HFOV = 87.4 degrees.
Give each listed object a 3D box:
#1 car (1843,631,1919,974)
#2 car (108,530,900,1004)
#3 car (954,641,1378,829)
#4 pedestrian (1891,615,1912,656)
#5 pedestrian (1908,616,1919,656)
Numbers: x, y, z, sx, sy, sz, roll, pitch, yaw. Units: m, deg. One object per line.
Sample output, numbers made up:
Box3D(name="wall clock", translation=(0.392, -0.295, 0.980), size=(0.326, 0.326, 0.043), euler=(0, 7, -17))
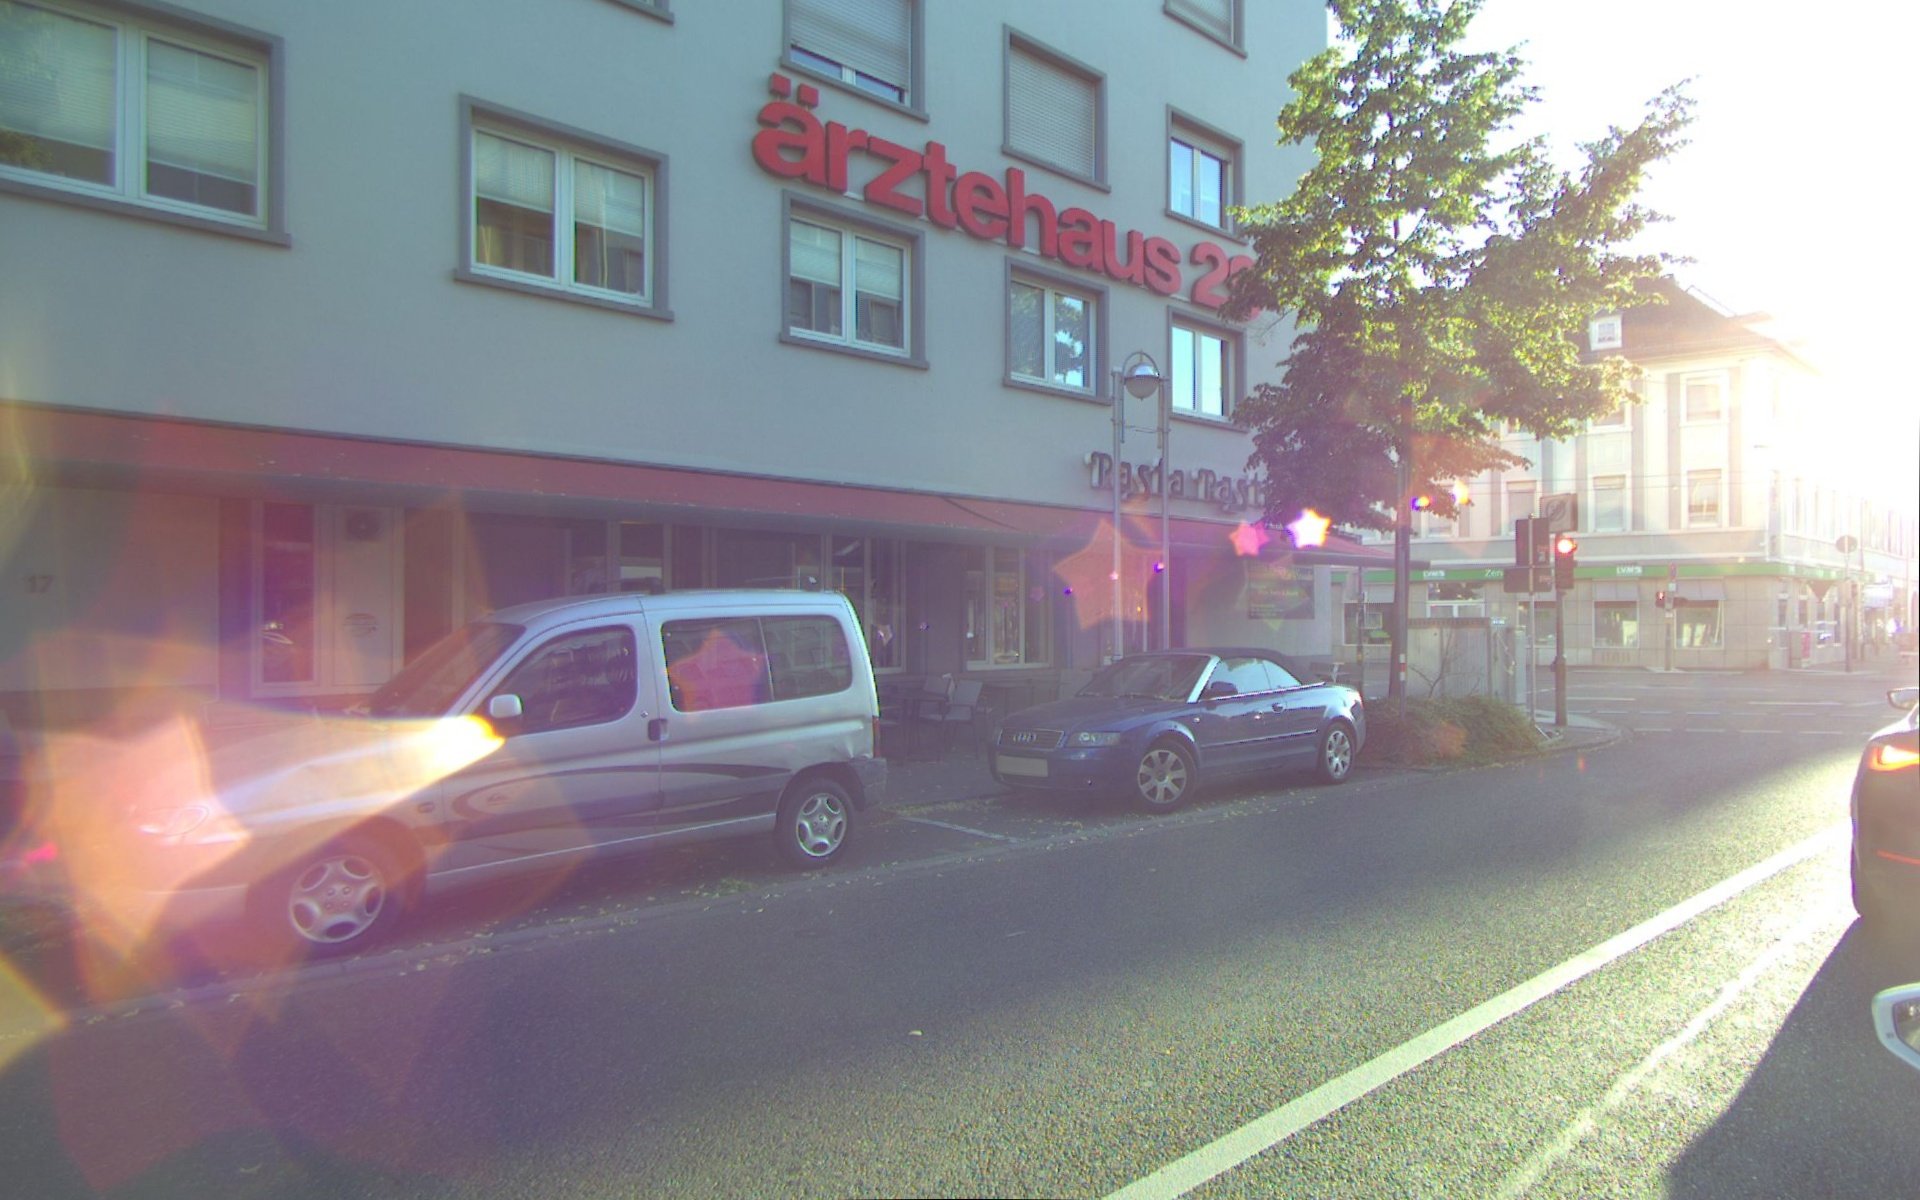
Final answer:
Box3D(name="car", translation=(6.075, 0.905, 5.118), size=(4.188, 1.447, 1.723), euler=(1, -1, -39))
Box3D(name="car", translation=(-2.454, 0.758, 6.033), size=(4.022, 1.912, 1.655), euler=(2, -4, -41))
Box3D(name="car", translation=(2.128, 1.138, 9.731), size=(4.244, 1.434, 1.710), euler=(2, -4, -39))
Box3D(name="pedestrian", translation=(45.327, 1.704, 48.366), size=(0.626, 1.901, 0.638), euler=(1, 0, -38))
Box3D(name="pedestrian", translation=(45.349, 1.703, 47.491), size=(0.612, 1.901, 0.671), euler=(1, 0, -38))
